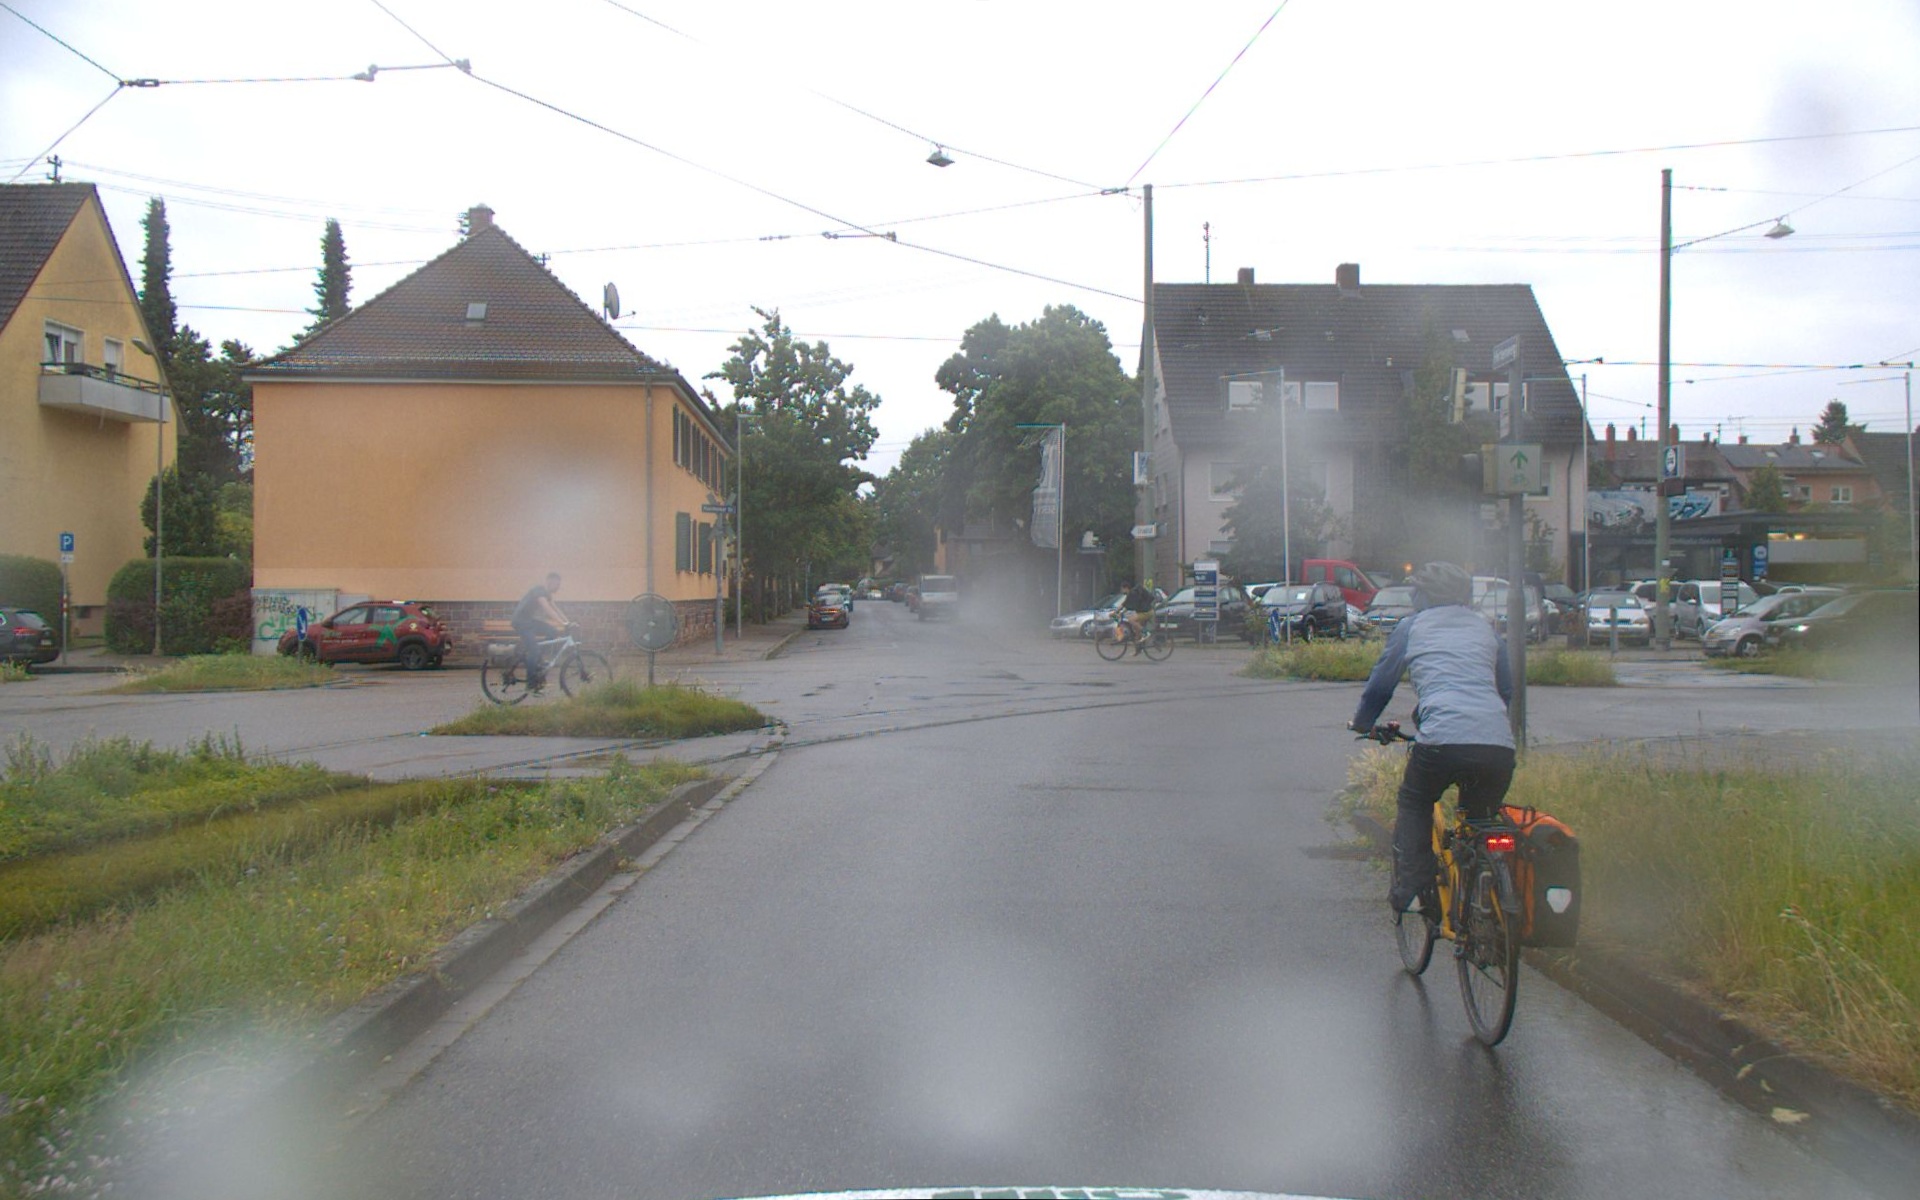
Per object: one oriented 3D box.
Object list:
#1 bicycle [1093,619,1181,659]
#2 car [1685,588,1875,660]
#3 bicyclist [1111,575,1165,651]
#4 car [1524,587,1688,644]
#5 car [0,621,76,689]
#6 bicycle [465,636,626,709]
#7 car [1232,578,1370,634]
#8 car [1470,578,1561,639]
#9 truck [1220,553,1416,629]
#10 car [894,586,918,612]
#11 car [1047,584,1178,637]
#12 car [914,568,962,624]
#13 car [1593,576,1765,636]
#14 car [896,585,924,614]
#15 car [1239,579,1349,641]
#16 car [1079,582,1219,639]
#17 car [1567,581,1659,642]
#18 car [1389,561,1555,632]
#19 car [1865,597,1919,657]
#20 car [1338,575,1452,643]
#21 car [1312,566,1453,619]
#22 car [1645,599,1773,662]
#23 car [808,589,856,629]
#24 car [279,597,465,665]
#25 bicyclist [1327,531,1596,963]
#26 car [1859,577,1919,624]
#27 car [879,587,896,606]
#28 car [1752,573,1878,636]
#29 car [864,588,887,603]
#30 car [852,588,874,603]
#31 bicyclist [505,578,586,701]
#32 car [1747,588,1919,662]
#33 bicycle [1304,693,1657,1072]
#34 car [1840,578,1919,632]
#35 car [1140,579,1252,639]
[{"bbox_3d":[3.859,0.844,36.225,1.778,0.800,0.942,-1,0,-3],"label":"bicycle"},{"bbox_3d":[19.010,0.553,38.429,3.559,1.530,1.722,2,0,-3],"label":"car"},{"bbox_3d":[3.889,0.281,36.221,1.018,1.626,0.949,-1,0,-3],"label":"bicyclist"},{"bbox_3d":[20.095,0.485,51.598,4.341,1.717,2.000,-1,-1,1],"label":"car"},{"bbox_3d":[-22.018,1.188,36.071,4.401,1.420,1.966,0,0,-4],"label":"car"},{"bbox_3d":[-5.471,0.955,21.926,1.940,0.928,0.823,1,-1,-4],"label":"bicycle"},{"bbox_3d":[10.342,0.206,50.133,3.883,1.626,2.001,-1,-1,19],"label":"car"},{"bbox_3d":[15.109,0.227,44.871,1.792,1.530,4.054,2,0,27],"label":"car"},{"bbox_3d":[11.508,-0.252,53.187,5.955,2.312,2.001,-1,-1,18],"label":"truck"},{"bbox_3d":[-4.552,-0.096,138.619,1.792,2.049,3.997,2,0,-4],"label":"car"},{"bbox_3d":[4.908,0.327,53.247,3.804,1.606,1.796,-1,0,-22],"label":"car"},{"bbox_3d":[-1.120,-0.204,82.005,2.110,2.617,4.130,2,0,-4],"label":"car"},{"bbox_3d":[21.440,0.178,49.422,4.341,1.717,1.760,-1,-1,1],"label":"car"},{"bbox_3d":[-3.631,-0.050,119.679,1.792,2.049,3.997,2,0,-4],"label":"car"},{"bbox_3d":[9.188,0.247,45.294,1.768,1.606,3.864,-1,0,31],"label":"car"},{"bbox_3d":[5.687,0.292,49.836,3.804,1.606,1.796,-1,0,-22],"label":"car"},{"bbox_3d":[17.608,0.303,44.751,1.789,1.530,4.061,2,0,15],"label":"car"},{"bbox_3d":[15.282,-0.095,49.505,4.341,2.049,2.000,-1,-1,1],"label":"car"},{"bbox_3d":[23.658,0.683,38.411,4.284,1.362,1.723,2,0,1],"label":"car"},{"bbox_3d":[11.818,0.226,44.816,1.957,1.747,3.991,-1,0,31],"label":"car"},{"bbox_3d":[14.400,-0.246,56.536,4.341,1.717,2.000,-1,-1,1],"label":"car"},{"bbox_3d":[20.528,0.793,45.478,1.765,1.606,3.872,-1,0,0],"label":"car"},{"bbox_3d":[-5.350,0.382,69.702,1.954,1.646,3.997,0,0,-4],"label":"car"},{"bbox_3d":[-13.080,0.676,36.927,3.534,1.362,1.721,2,0,-4],"label":"car"},{"bbox_3d":[1.868,0.518,6.272,0.735,1.511,0.846,-1,0,0],"label":"bicyclist"},{"bbox_3d":[34.073,0.023,58.402,4.373,1.608,1.781,0,-1,-24],"label":"car"},{"bbox_3d":[-8.078,-0.371,184.236,1.792,2.049,3.997,2,0,-4],"label":"car"},{"bbox_3d":[23.467,0.109,45.540,1.681,1.600,3.618,2,0,2],"label":"car"},{"bbox_3d":[-10.358,-0.509,202.469,1.800,1.726,4.011,2,0,-18],"label":"car"},{"bbox_3d":[-12.239,-0.587,207.845,1.800,1.726,4.011,2,0,-18],"label":"car"},{"bbox_3d":[-5.485,0.517,21.926,0.893,1.585,0.833,1,-1,-4],"label":"bicyclist"},{"bbox_3d":[19.256,0.515,35.351,3.907,1.502,1.999,-1,0,-3],"label":"car"},{"bbox_3d":[1.883,0.967,6.309,0.737,1.091,1.927,-1,0,1],"label":"bicycle"},{"bbox_3d":[26.045,0.156,45.495,1.682,1.420,3.843,2,0,2],"label":"car"},{"bbox_3d":[6.699,0.222,46.674,1.768,1.606,3.864,-1,0,31],"label":"car"}]
